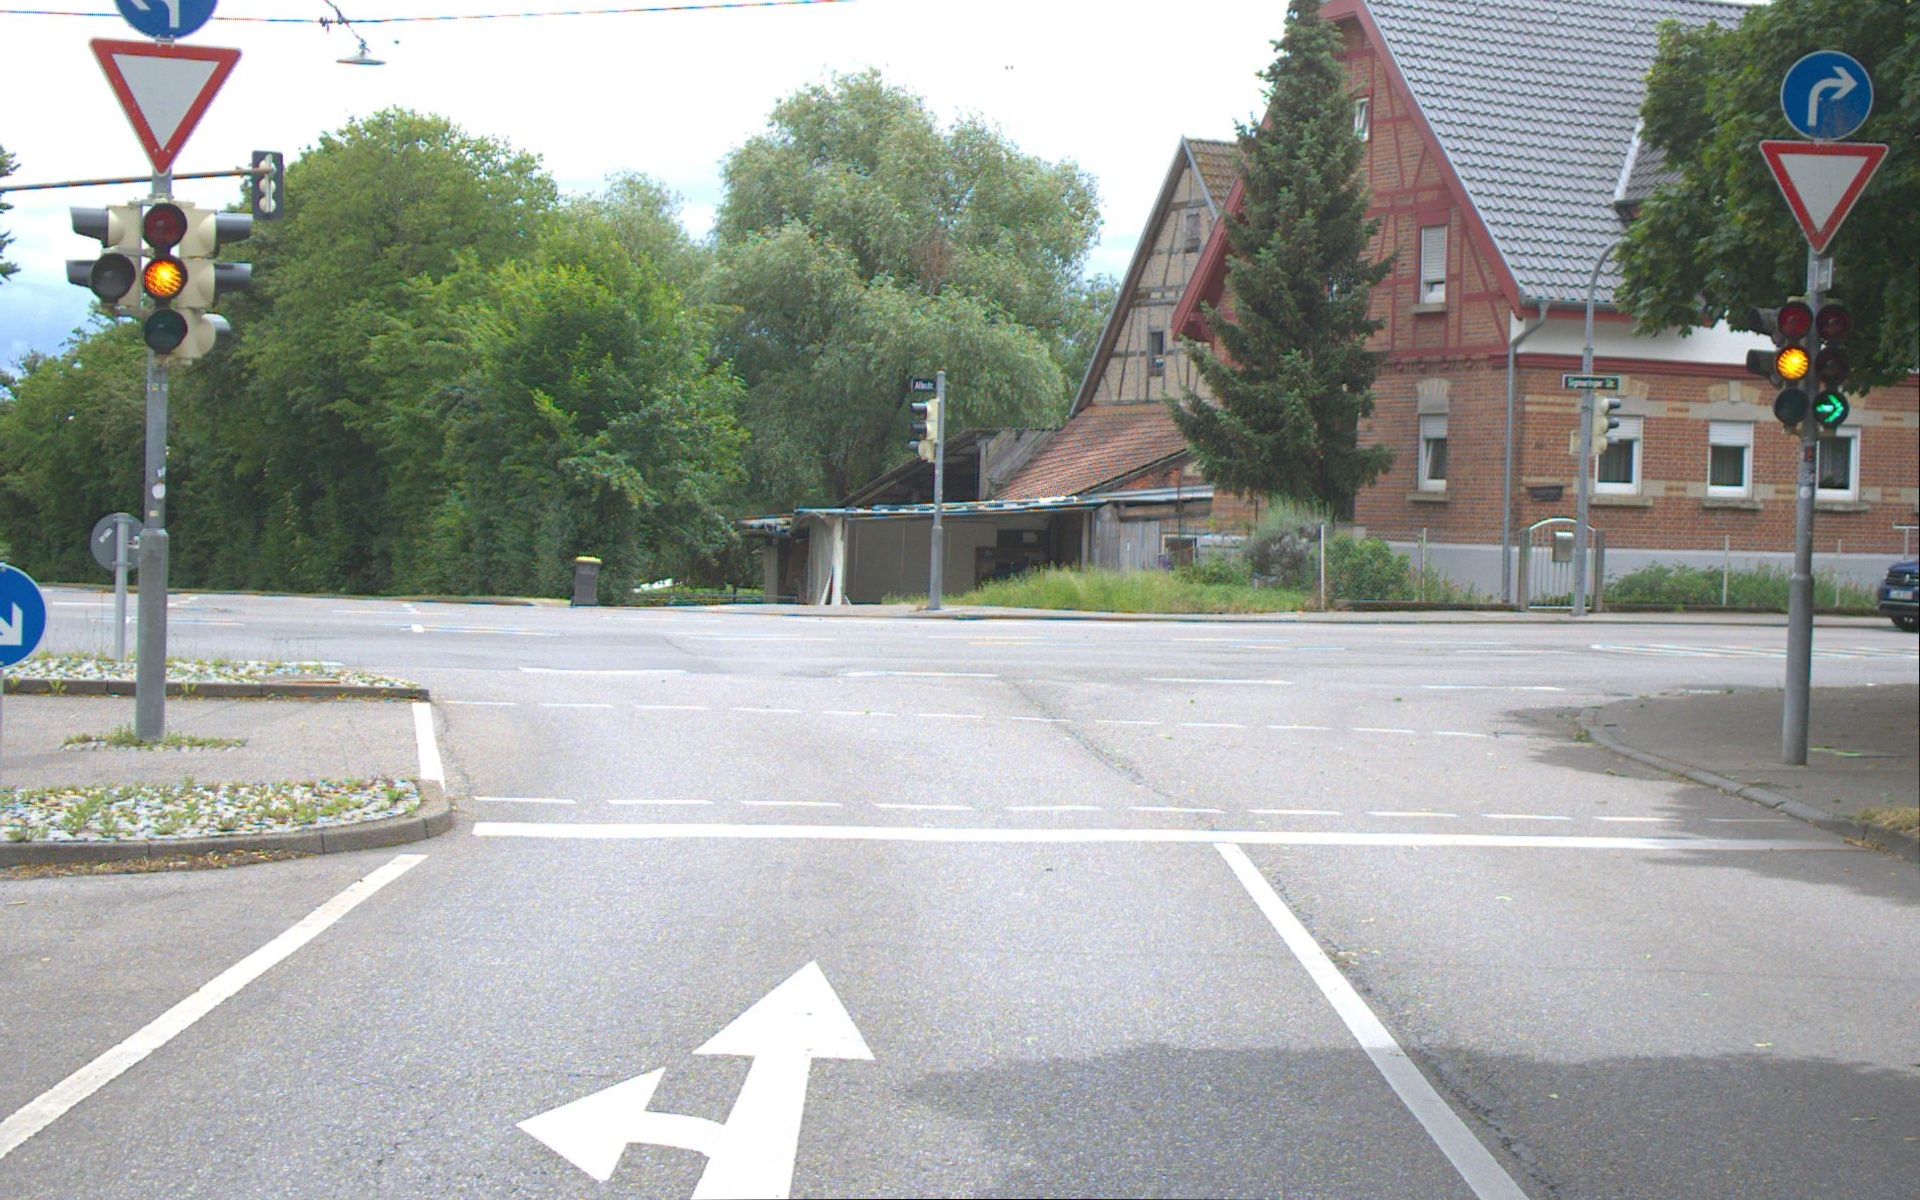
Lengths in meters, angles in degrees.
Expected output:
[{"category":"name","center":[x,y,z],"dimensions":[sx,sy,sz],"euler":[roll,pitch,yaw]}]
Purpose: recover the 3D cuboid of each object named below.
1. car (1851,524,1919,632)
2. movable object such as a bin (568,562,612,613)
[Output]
[{"category":"car","center":[15.115,-0.301,49.655],"dimensions":[3.986,1.513,1.928],"euler":[1,1,-24]},{"category":"movable object such as a bin","center":[-6.751,-0.237,62.660],"dimensions":[0.592,0.903,0.602],"euler":[2,1,17]}]
